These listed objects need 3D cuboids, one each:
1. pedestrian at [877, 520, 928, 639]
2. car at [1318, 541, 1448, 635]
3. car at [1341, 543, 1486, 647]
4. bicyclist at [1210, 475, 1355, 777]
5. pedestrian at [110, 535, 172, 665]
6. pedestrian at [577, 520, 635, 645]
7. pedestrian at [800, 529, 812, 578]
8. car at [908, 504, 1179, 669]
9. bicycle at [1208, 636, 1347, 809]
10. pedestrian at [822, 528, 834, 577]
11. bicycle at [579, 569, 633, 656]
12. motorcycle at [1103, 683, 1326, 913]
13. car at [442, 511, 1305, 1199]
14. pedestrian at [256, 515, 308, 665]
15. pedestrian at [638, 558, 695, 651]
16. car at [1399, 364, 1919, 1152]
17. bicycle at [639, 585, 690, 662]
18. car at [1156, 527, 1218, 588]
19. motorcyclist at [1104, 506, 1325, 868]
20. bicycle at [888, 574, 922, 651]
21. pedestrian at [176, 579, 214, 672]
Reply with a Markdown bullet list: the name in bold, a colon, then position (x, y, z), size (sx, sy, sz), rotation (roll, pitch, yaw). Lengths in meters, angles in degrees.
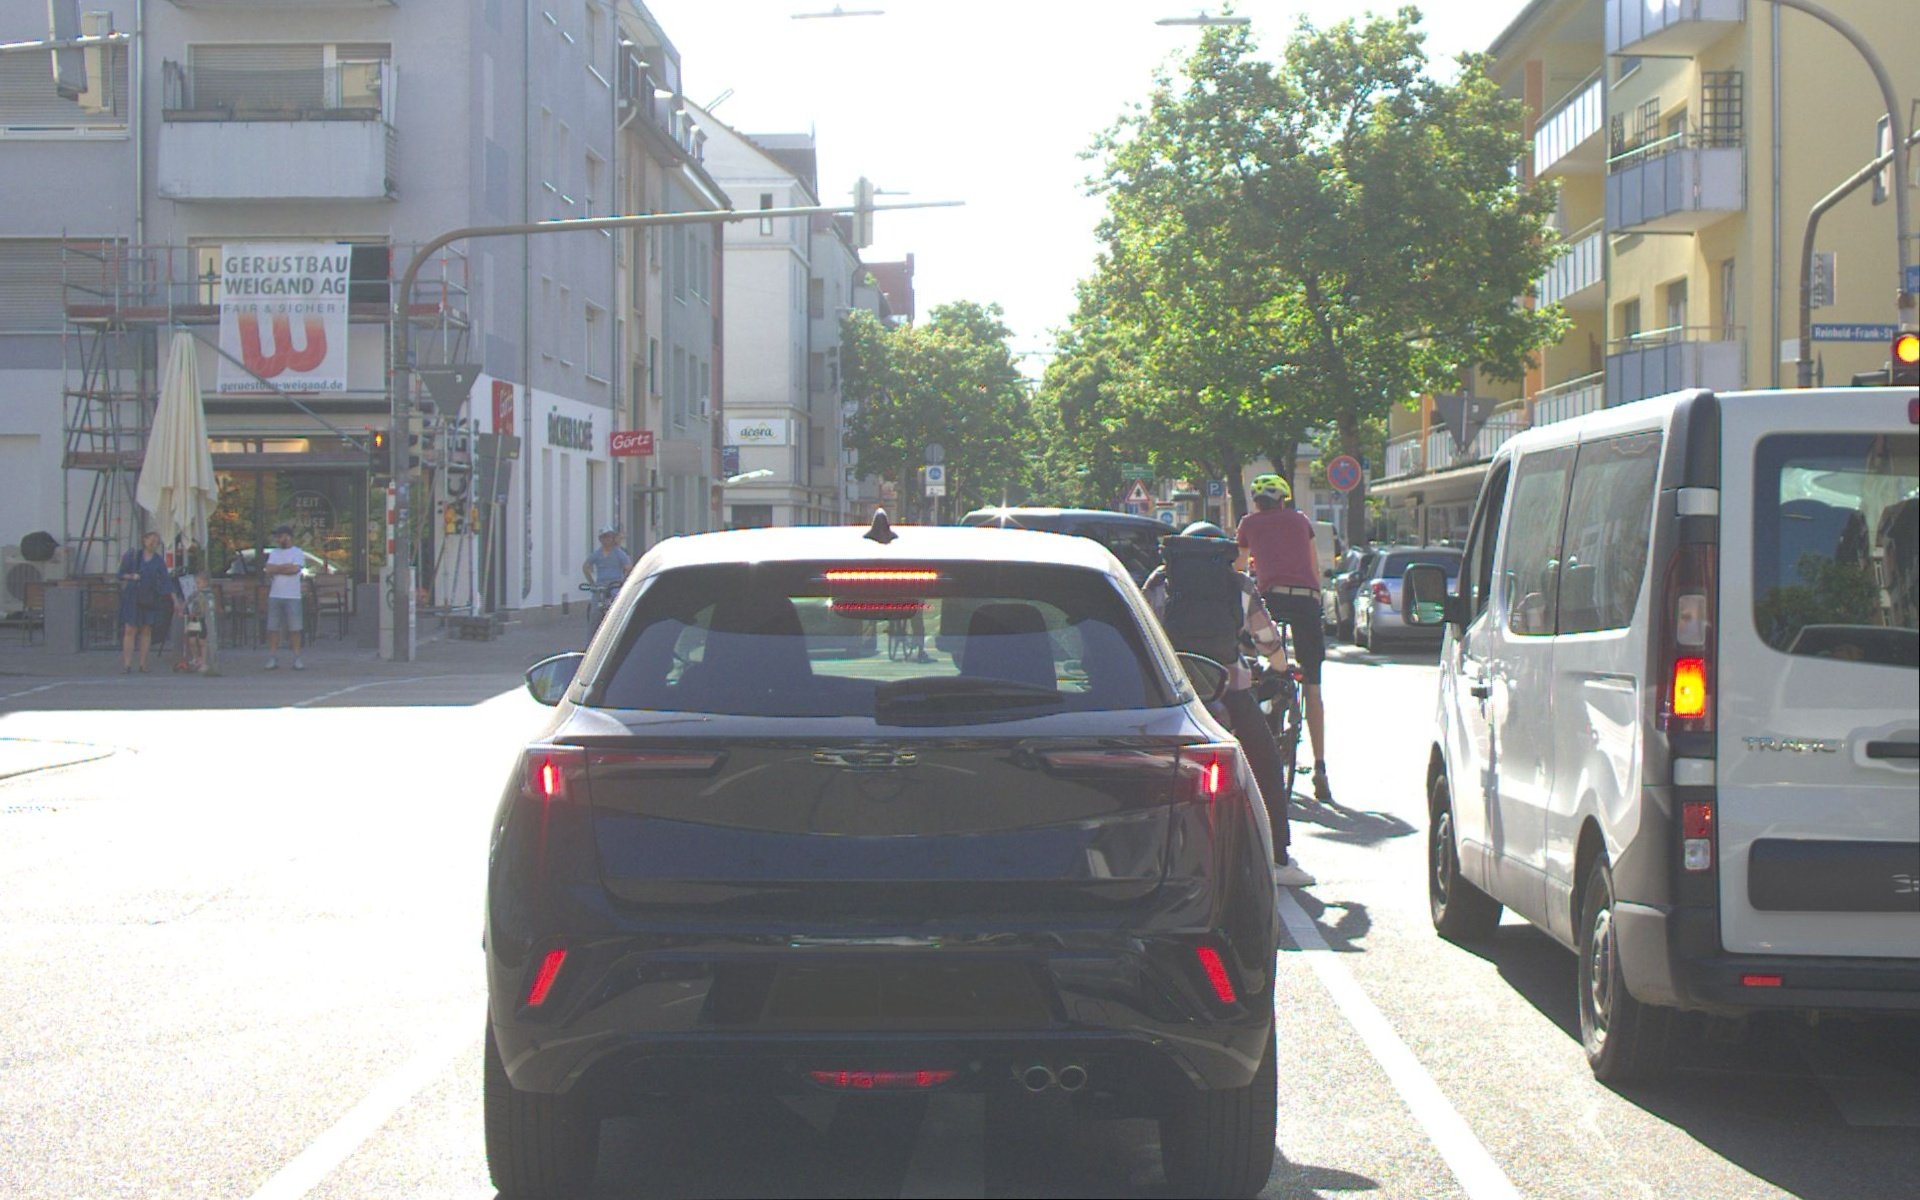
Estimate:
- **pedestrian**: position (-0.772, -0.280, 46.387), size (0.680, 1.600, 0.762), rotation (0, 1, -1)
- **car**: position (6.672, -0.217, 54.517), size (1.634, 1.428, 4.000), rotation (0, 1, 1)
- **car**: position (6.501, -0.107, 49.603), size (1.634, 1.428, 3.956), rotation (0, 1, 1)
- **bicyclist**: position (1.874, 0.133, 20.158), size (0.689, 1.707, 1.414), rotation (0, 1, -1)
- **pedestrian**: position (-9.636, -0.006, 40.451), size (0.584, 1.516, 0.649), rotation (0, 1, -2)
- **pedestrian**: position (-4.792, -0.240, 46.562), size (0.707, 1.672, 0.802), rotation (0, 1, -1)
- **pedestrian**: position (-5.261, -1.590, 117.276), size (0.402, 1.669, 0.418), rotation (0, 1, 1)
- **car**: position (0.990, -0.185, 38.170), size (1.904, 1.722, 4.070), rotation (0, 1, 18)
- **bicycle**: position (1.855, 0.695, 20.327), size (0.577, 0.901, 2.301), rotation (0, 1, -1)
- **pedestrian**: position (-4.490, -1.620, 117.177), size (0.402, 1.669, 0.418), rotation (0, 1, 1)
- **bicycle**: position (-4.815, 0.155, 46.837), size (0.521, 1.143, 2.284), rotation (0, 1, -1)
- **motorcycle**: position (1.061, 0.819, 14.751), size (0.825, 0.842, 1.885), rotation (0, 1, 0)
- **car**: position (-0.208, 0.549, 9.112), size (1.770, 1.525, 4.000), rotation (1, 1, -1)
- **pedestrian**: position (-8.089, -0.120, 41.007), size (0.561, 1.769, 0.584), rotation (0, 1, -7)
- **pedestrian**: position (-3.966, 0.055, 46.465), size (0.707, 1.249, 0.802), rotation (0, 1, -1)
- **car**: position (2.713, 0.367, 11.115), size (1.993, 1.972, 4.895), rotation (1, 1, 1)
- **bicycle**: position (-4.006, 0.301, 46.739), size (0.521, 0.989, 2.339), rotation (0, 1, -1)
- **car**: position (7.616, -1.449, 115.602), size (1.855, 2.007, 3.881), rotation (0, 1, 1)
- **motorcyclist**: position (1.079, 0.350, 14.840), size (0.864, 1.497, 1.160), rotation (0, 1, 0)
- **bicycle**: position (-0.739, 0.158, 46.432), size (0.443, 0.989, 2.069), rotation (0, 1, -1)
- **pedestrian**: position (-9.007, 0.297, 40.461), size (0.355, 1.088, 0.462), rotation (0, 1, -2)
